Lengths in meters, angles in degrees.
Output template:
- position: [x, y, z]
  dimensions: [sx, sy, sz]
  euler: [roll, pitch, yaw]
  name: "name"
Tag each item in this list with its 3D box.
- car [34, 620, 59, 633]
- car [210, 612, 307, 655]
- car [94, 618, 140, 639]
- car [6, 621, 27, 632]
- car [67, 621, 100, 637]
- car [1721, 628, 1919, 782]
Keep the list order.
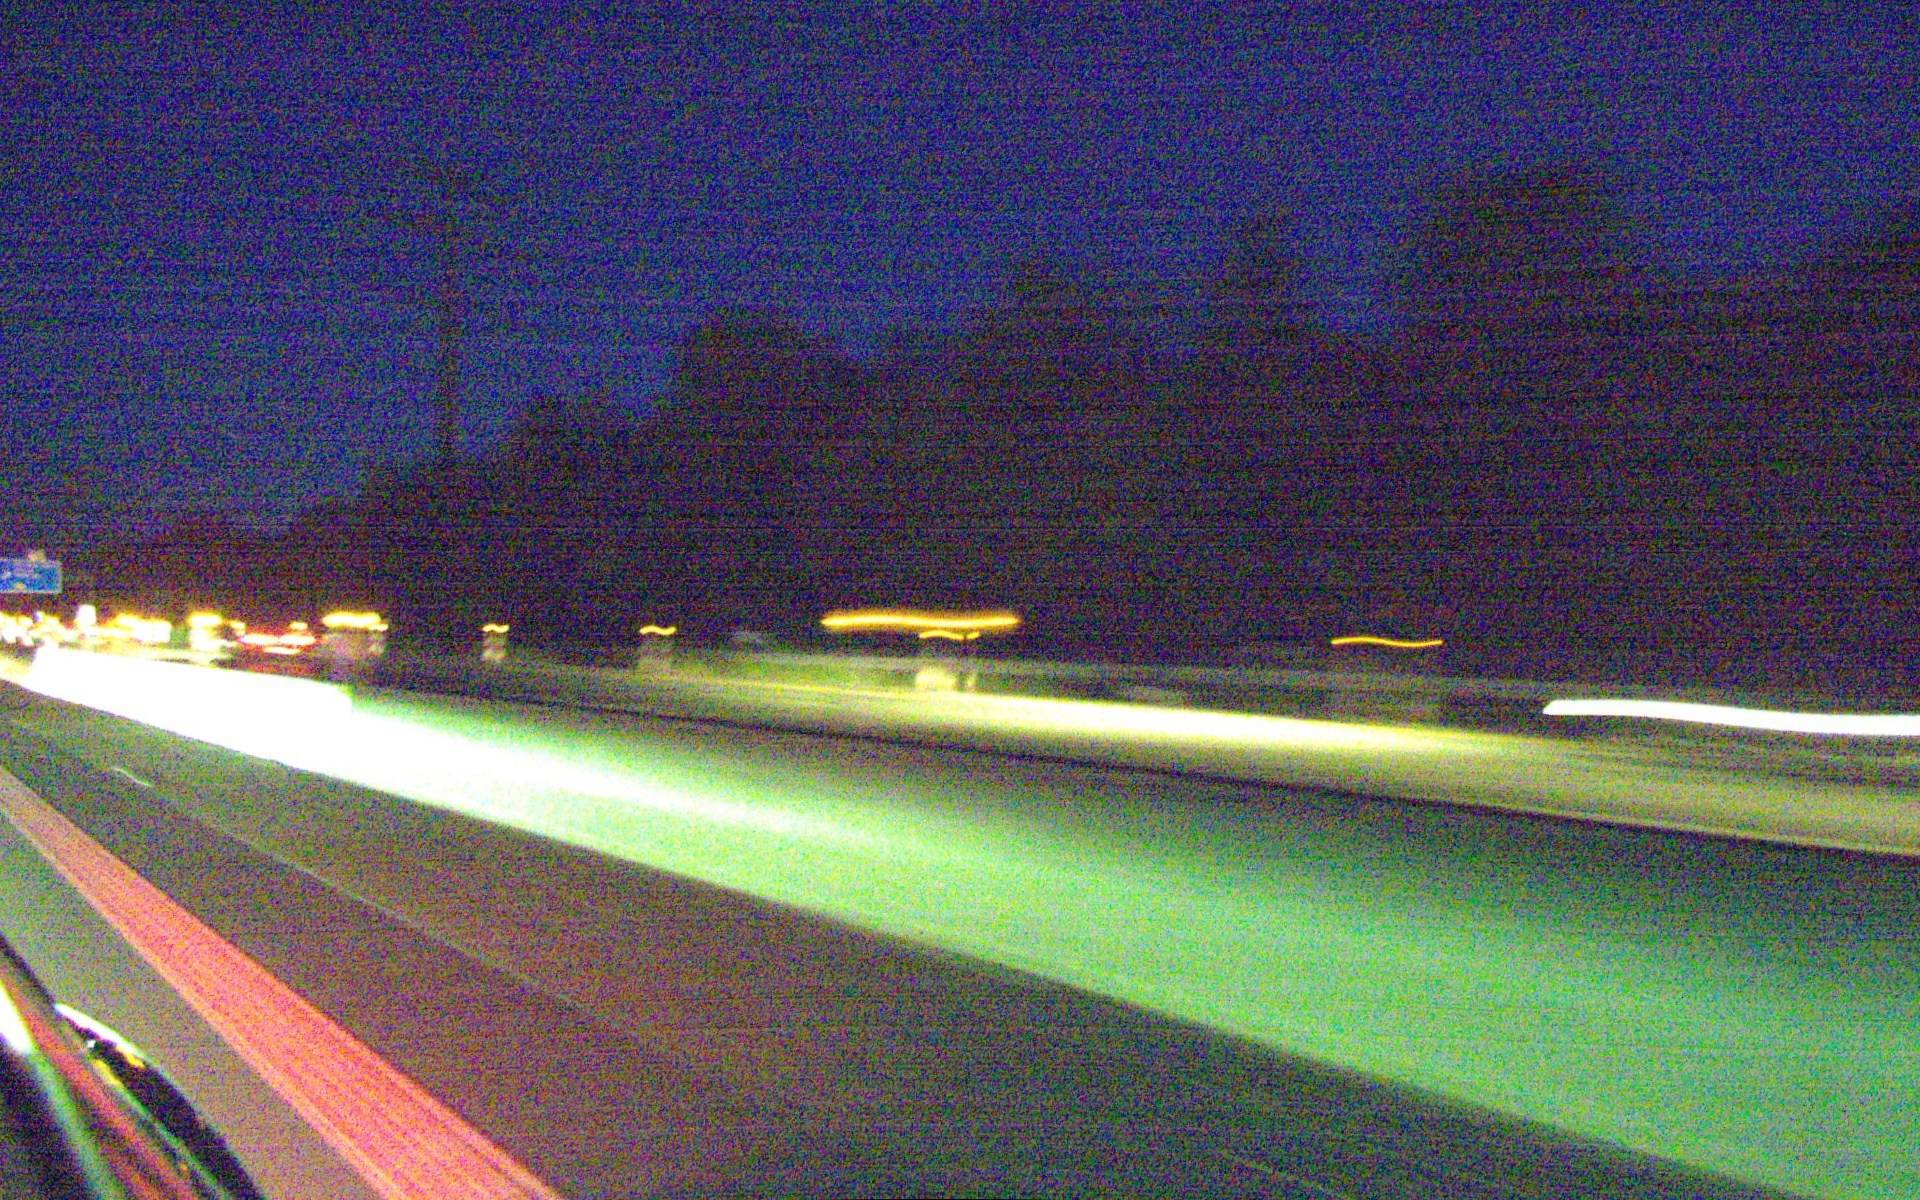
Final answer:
- position: [-105.839, 3.101, 117.219]
  dimensions: [4.727, 1.490, 1.731]
  euler: [-1, -3, 44]
  name: "car"
- position: [-25.883, 1.226, 37.283]
  dimensions: [4.578, 1.490, 1.732]
  euler: [-1, -3, 40]
  name: "car"
- position: [-58.573, 1.961, 70.309]
  dimensions: [4.874, 1.405, 1.615]
  euler: [-1, -3, 40]
  name: "car"
- position: [-130.098, 3.628, 139.562]
  dimensions: [4.481, 1.490, 1.731]
  euler: [-1, -3, 43]
  name: "car"
- position: [-78.610, 2.556, 90.716]
  dimensions: [4.808, 1.344, 1.644]
  euler: [-1, 0, 42]
  name: "car"
- position: [10.498, 1.051, 10.093]
  dimensions: [4.578, 1.490, 1.732]
  euler: [-1, -3, 40]
  name: "car"
